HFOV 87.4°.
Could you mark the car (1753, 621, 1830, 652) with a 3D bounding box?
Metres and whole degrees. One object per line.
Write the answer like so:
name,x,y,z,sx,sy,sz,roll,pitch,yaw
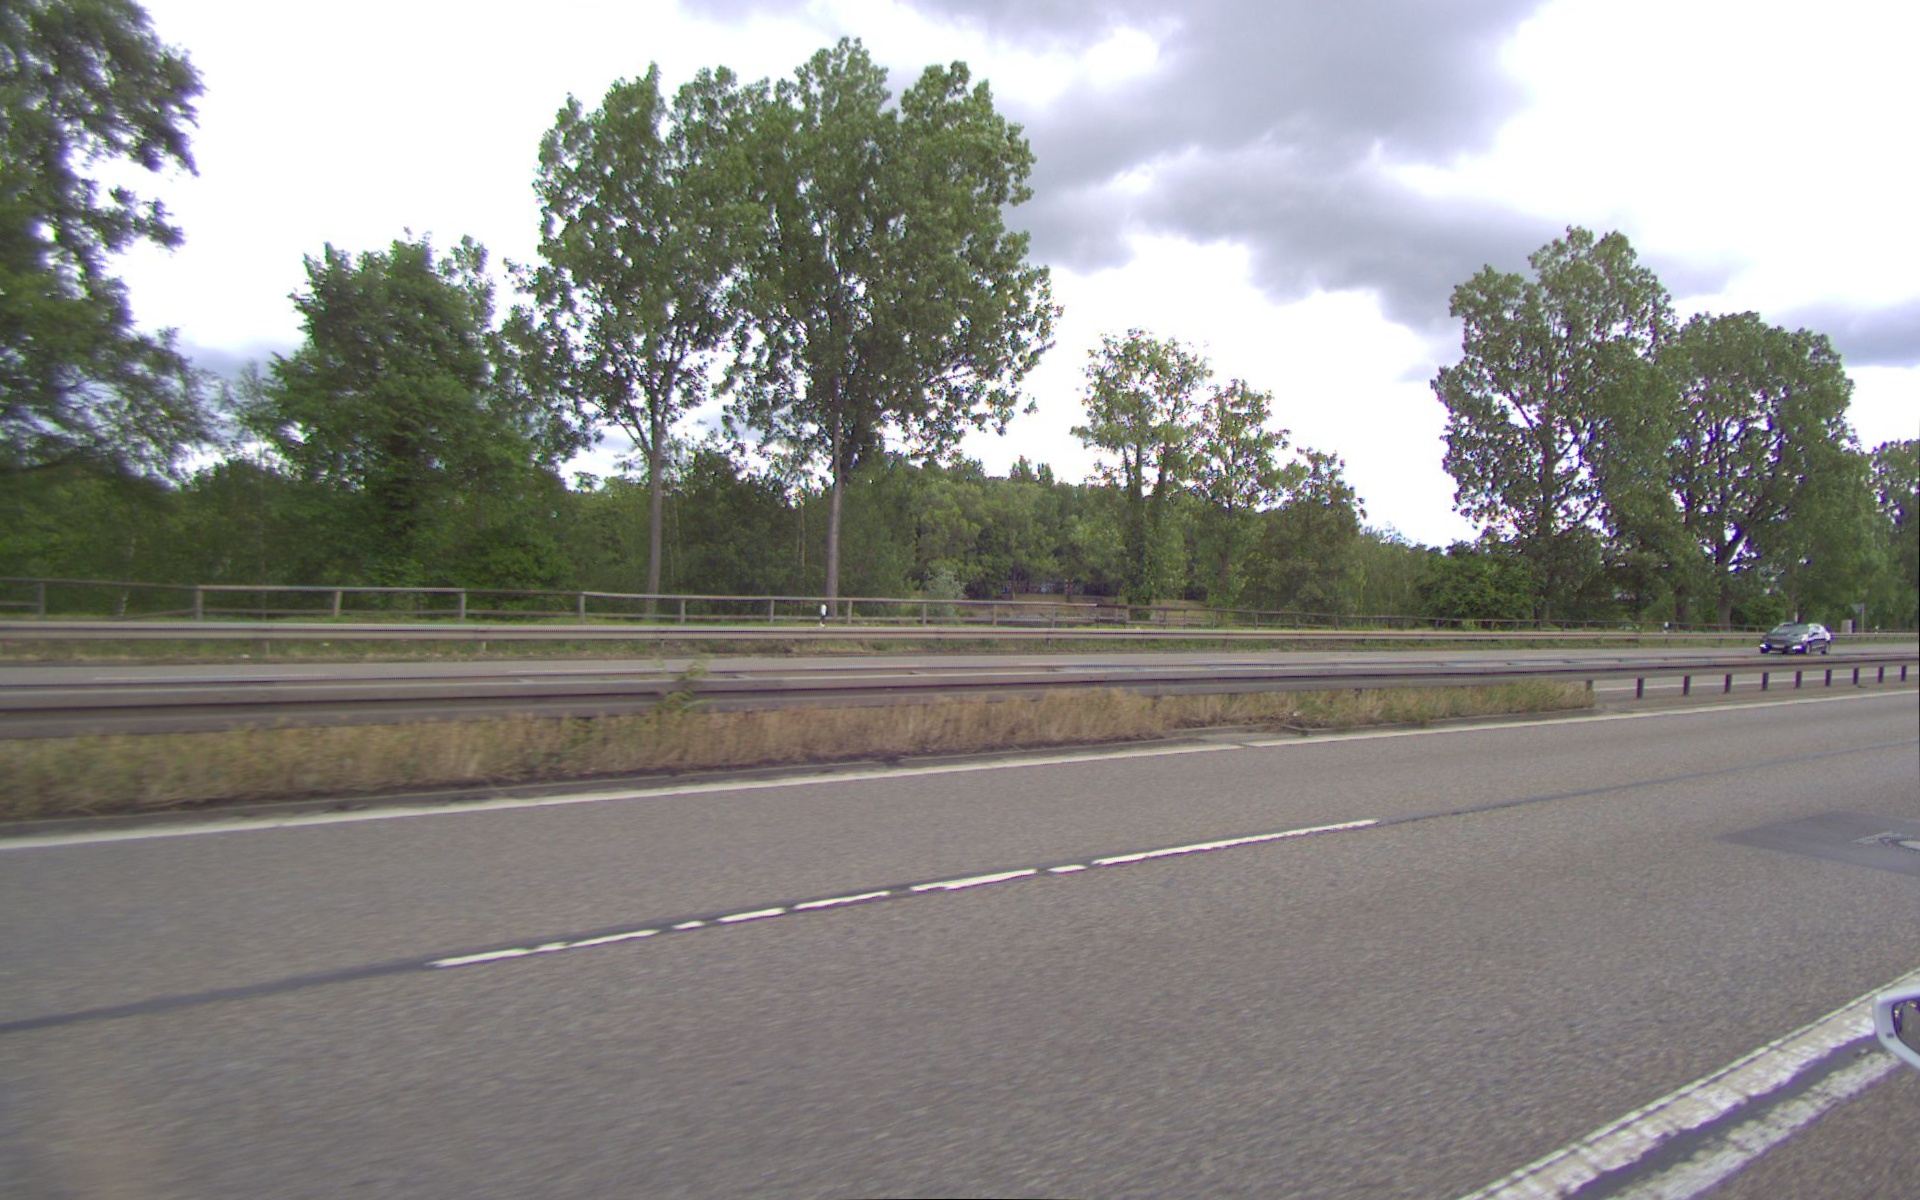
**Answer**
car,40.643,1.758,49.065,4.590,1.432,1.687,1,0,-35
